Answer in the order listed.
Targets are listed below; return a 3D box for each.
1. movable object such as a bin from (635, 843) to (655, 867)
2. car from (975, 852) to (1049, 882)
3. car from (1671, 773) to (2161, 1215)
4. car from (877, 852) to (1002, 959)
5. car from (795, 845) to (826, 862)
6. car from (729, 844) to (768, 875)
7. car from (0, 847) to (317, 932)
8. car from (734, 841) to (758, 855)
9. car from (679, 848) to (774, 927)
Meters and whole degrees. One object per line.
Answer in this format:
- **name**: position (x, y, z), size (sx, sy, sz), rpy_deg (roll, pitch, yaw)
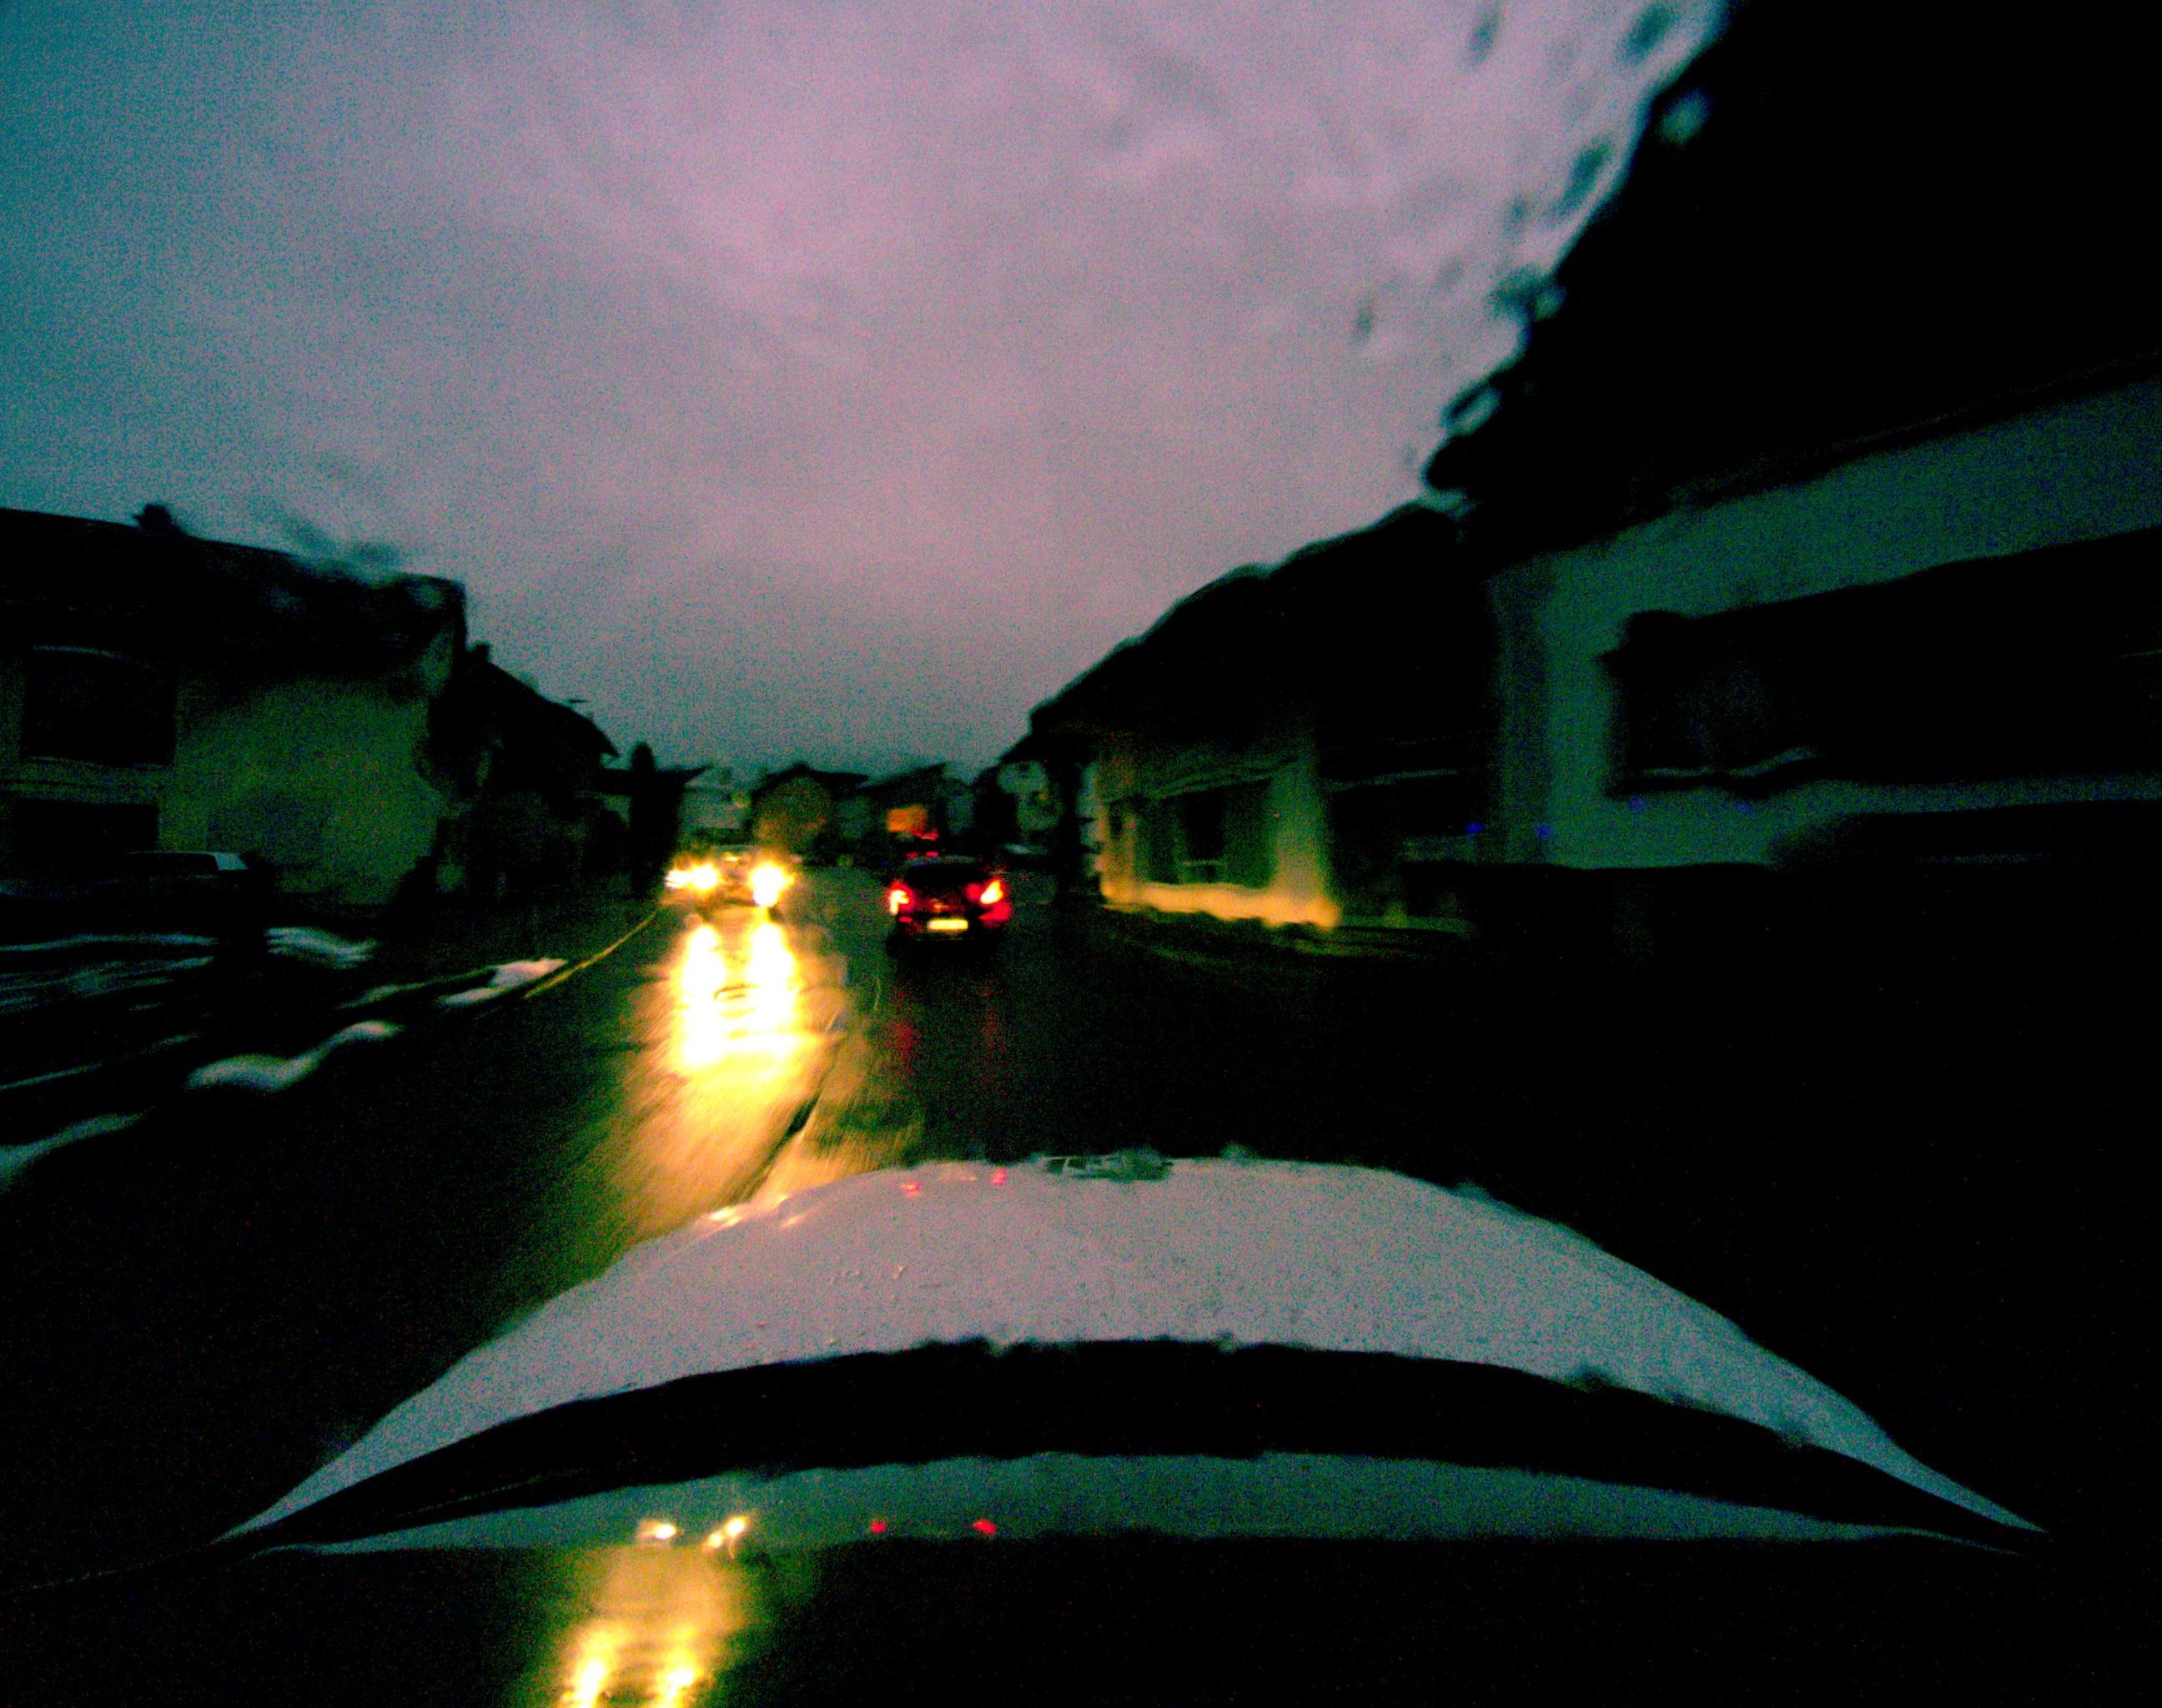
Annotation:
- **movable object such as a bin**: position (-28.856, 0.049, 53.895), size (1.101, 1.543, 1.278), rpy_deg (0, 0, -24)
- **car**: position (-4.226, 0.759, 49.313), size (4.493, 1.628, 1.826), rpy_deg (-1, 2, 42)
- **car**: position (4.928, 0.403, 4.412), size (3.915, 1.450, 1.866), rpy_deg (-6, 1, -41)
- **car**: position (-2.413, 0.709, 13.232), size (1.550, 1.466, 3.677), rpy_deg (0, 0, -17)
- **car**: position (-27.200, -0.044, 81.819), size (2.007, 1.644, 3.960), rpy_deg (0, 1, -32)
- **car**: position (-19.043, 0.304, 46.783), size (1.919, 1.653, 3.973), rpy_deg (1, 1, -21)
- **car**: position (-17.602, 0.611, 15.599), size (4.013, 1.462, 1.802), rpy_deg (0, 0, -31)
- **car**: position (-39.950, -0.750, 97.101), size (2.007, 1.644, 3.960), rpy_deg (0, 1, -32)
- **car**: position (-8.693, 0.709, 20.081), size (1.885, 1.612, 4.567), rpy_deg (-1, 2, -23)
